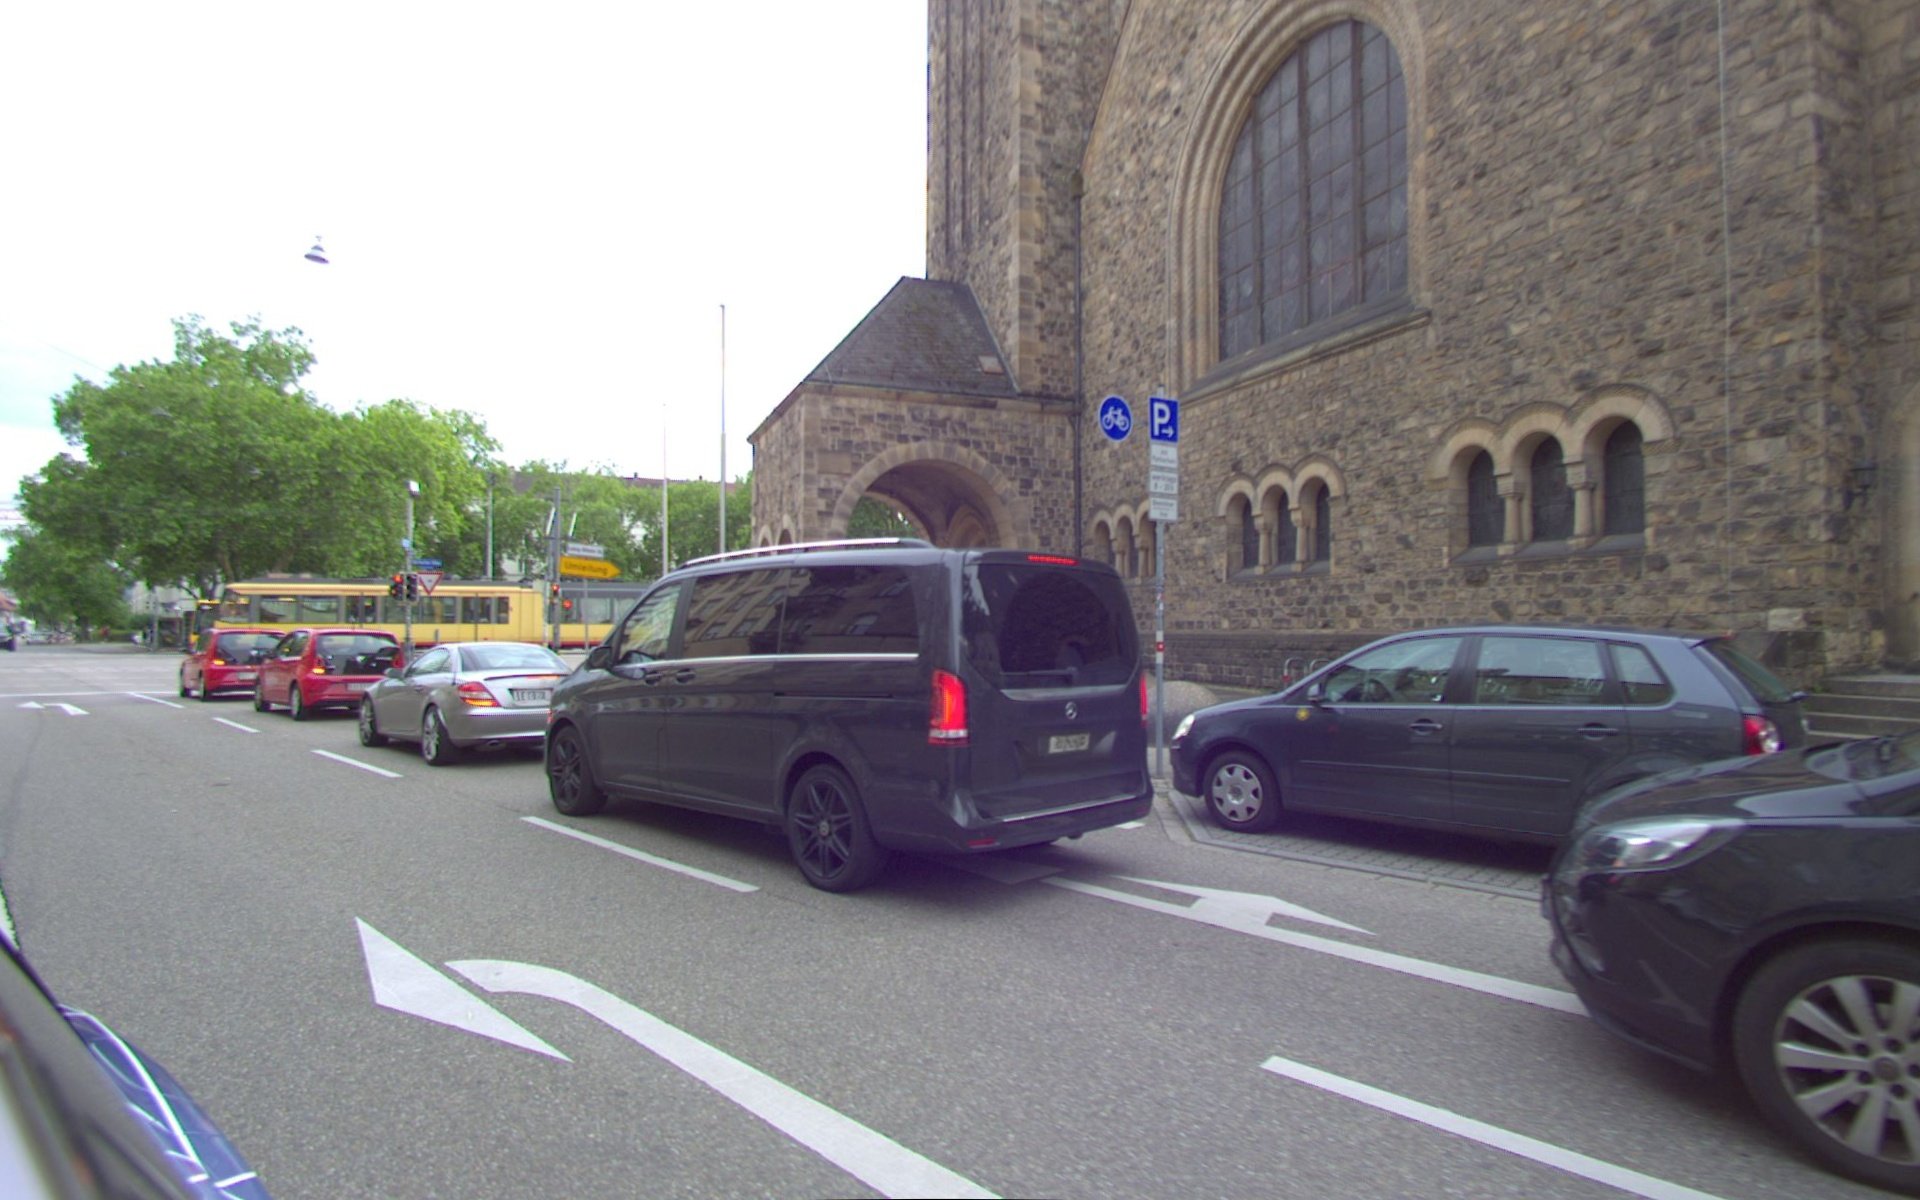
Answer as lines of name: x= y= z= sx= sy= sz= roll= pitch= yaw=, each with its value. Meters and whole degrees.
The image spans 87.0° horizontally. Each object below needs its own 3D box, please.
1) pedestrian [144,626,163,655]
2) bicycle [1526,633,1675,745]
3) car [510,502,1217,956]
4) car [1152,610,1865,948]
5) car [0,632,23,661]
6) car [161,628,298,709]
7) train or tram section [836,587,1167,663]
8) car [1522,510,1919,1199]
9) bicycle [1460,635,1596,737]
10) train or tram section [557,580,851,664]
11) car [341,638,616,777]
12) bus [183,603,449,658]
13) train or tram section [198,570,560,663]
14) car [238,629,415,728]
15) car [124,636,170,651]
pedestrian: x=-52.907 y=2.636 z=66.374 sx=0.683 sy=1.901 sz=0.685 roll=0 pitch=-1 yaw=17
bicycle: x=7.236 y=0.961 z=11.411 sx=1.754 sy=1.175 sz=0.743 roll=1 pitch=-2 yaw=-33
car: x=-1.078 y=0.653 z=6.959 sx=5.286 sy=1.969 sz=1.890 roll=-2 pitch=-3 yaw=45
car: x=3.291 y=0.840 z=6.558 sx=3.773 sy=1.520 sz=1.628 roll=0 pitch=0 yaw=45
car: x=-61.132 y=2.962 z=63.896 sx=1.879 sy=1.732 sz=3.751 roll=1 pitch=-5 yaw=-27
car: x=-15.277 y=1.421 z=21.100 sx=3.895 sy=1.540 sz=1.630 roll=-3 pitch=-6 yaw=45
train or tram section: x=2.705 y=1.565 z=59.959 sx=19.603 sy=4.124 sz=3.639 roll=1 pitch=-1 yaw=-20
car: x=3.956 y=0.609 z=2.089 sx=4.550 sy=1.697 sz=1.824 roll=-2 pitch=-3 yaw=45
bicycle: x=6.803 y=0.994 z=12.097 sx=1.754 sy=1.139 sz=0.663 roll=1 pitch=-2 yaw=-33
train or tram section: x=-13.528 y=1.253 z=54.179 sx=14.778 sy=4.124 sz=3.593 roll=1 pitch=-1 yaw=-20
car: x=-5.772 y=1.155 z=11.893 sx=1.684 sy=1.296 sz=4.045 roll=5 pitch=-5 yaw=-43
bus: x=-35.780 y=1.744 z=57.008 sx=12.165 sy=2.878 sz=3.303 roll=1 pitch=-1 yaw=-20
train or tram section: x=-27.486 y=0.902 z=49.207 sx=14.778 sy=4.124 sz=3.666 roll=1 pitch=-1 yaw=-20
car: x=-10.733 y=1.269 z=17.049 sx=3.719 sy=1.468 sz=1.584 roll=-1 pitch=-5 yaw=44
car: x=-81.249 y=4.347 z=101.149 sx=3.969 sy=1.497 sz=1.791 roll=0 pitch=-2 yaw=19
